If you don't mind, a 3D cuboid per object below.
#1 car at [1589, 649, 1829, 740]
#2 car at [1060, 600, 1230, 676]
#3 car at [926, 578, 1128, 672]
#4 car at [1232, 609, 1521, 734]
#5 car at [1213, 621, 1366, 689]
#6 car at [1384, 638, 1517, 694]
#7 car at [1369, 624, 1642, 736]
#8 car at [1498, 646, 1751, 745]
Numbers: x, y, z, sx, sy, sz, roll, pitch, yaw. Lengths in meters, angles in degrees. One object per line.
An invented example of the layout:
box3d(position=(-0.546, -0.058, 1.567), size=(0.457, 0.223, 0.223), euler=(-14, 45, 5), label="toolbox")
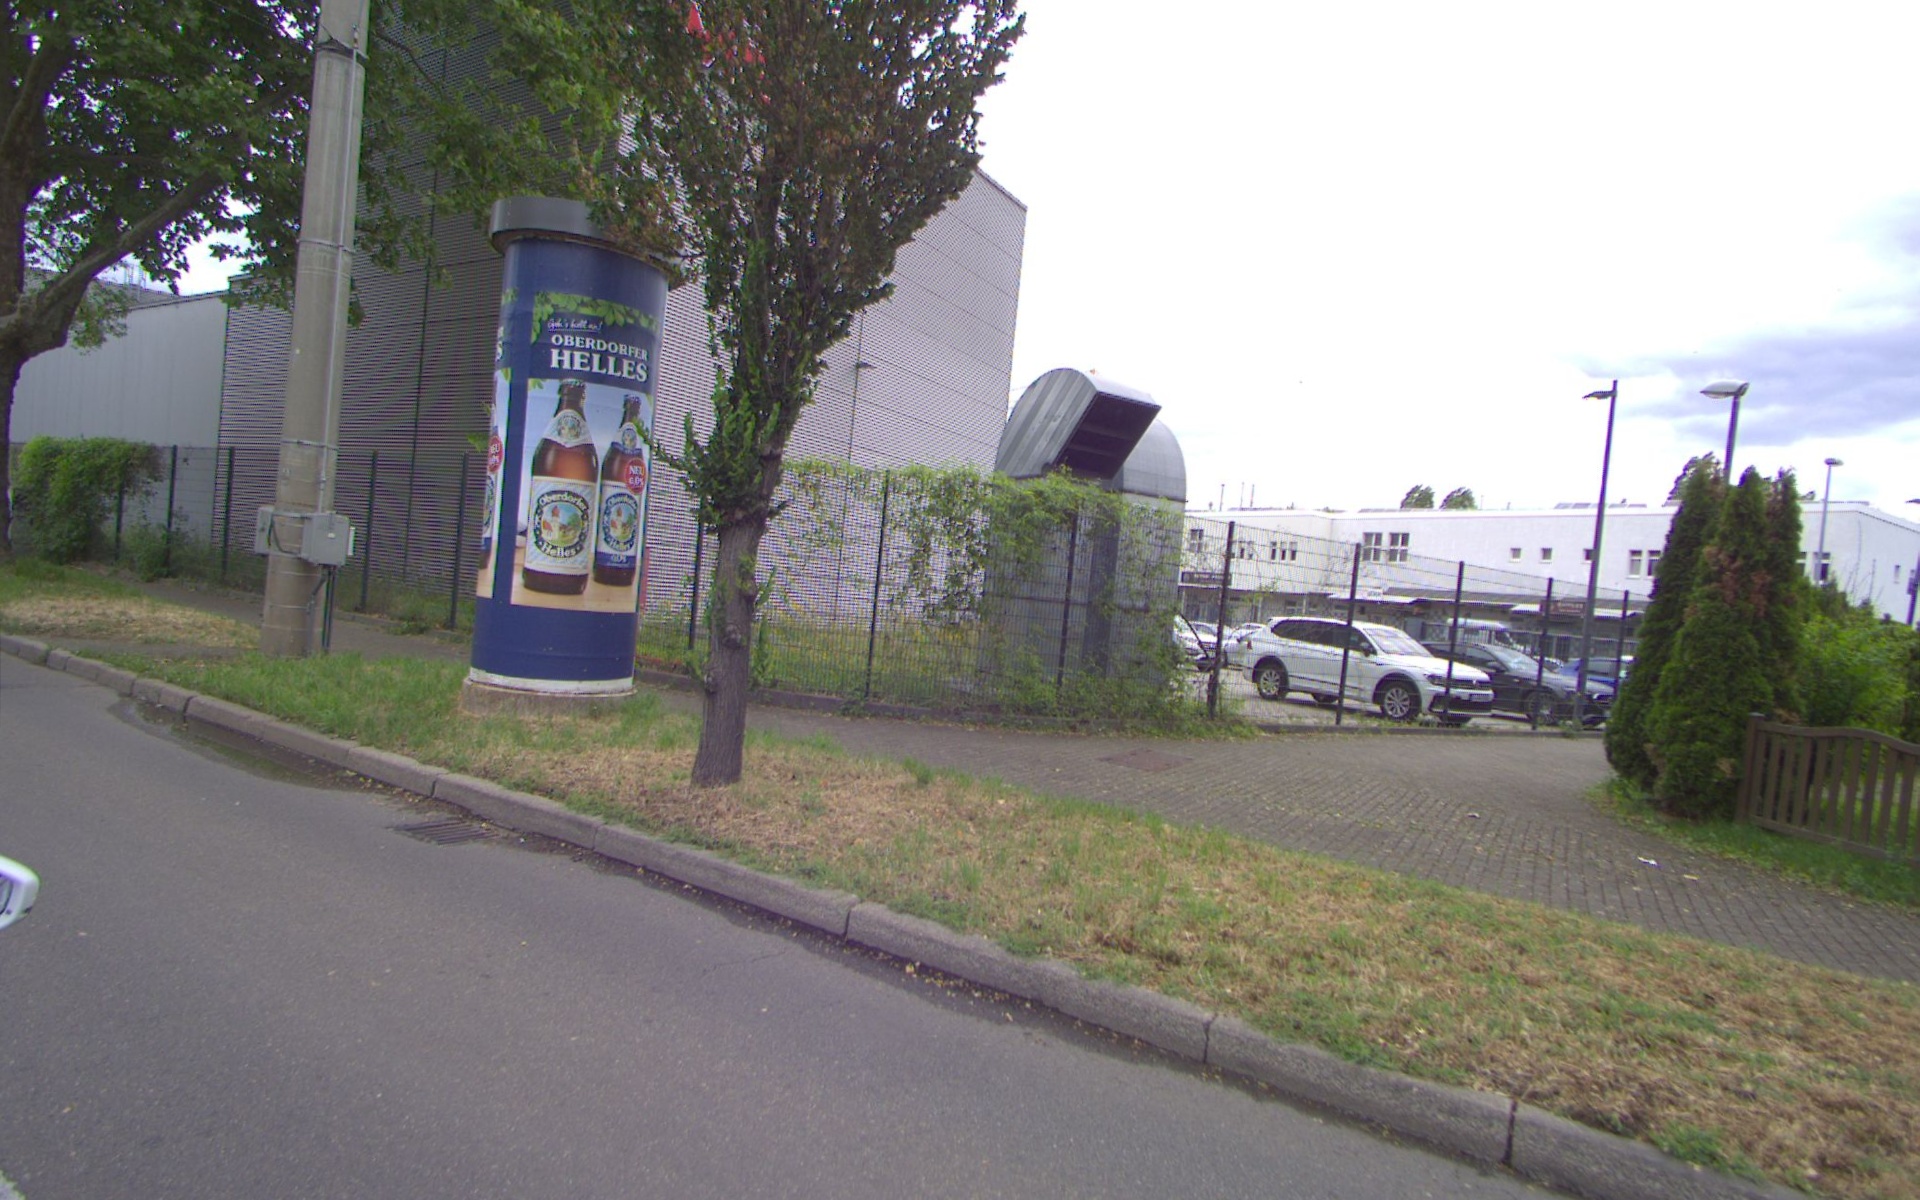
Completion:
box3d(position=(19.221, 2.394, 26.036), size=(1.978, 1.686, 4.464), euler=(5, 0, -31), label="car")
box3d(position=(5.312, 1.067, 29.313), size=(4.418, 1.686, 1.999), euler=(6, 1, -1), label="car")
box3d(position=(1.581, 0.582, 23.957), size=(4.197, 1.668, 1.999), euler=(6, -2, 29), label="car")
box3d(position=(7.412, 1.228, 18.376), size=(1.978, 1.686, 4.464), euler=(5, 0, -31), label="car")
box3d(position=(10.496, 1.733, 32.311), size=(1.982, 1.668, 4.233), euler=(8, -2, -34), label="car")
box3d(position=(19.576, 2.616, 40.294), size=(1.982, 1.668, 4.233), euler=(8, -2, -34), label="car")
box3d(position=(11.079, 1.577, 20.780), size=(1.978, 1.686, 4.464), euler=(5, 0, -31), label="car")
box3d(position=(15.552, 2.200, 23.815), size=(1.978, 1.686, 4.464), euler=(5, 0, -31), label="car")
